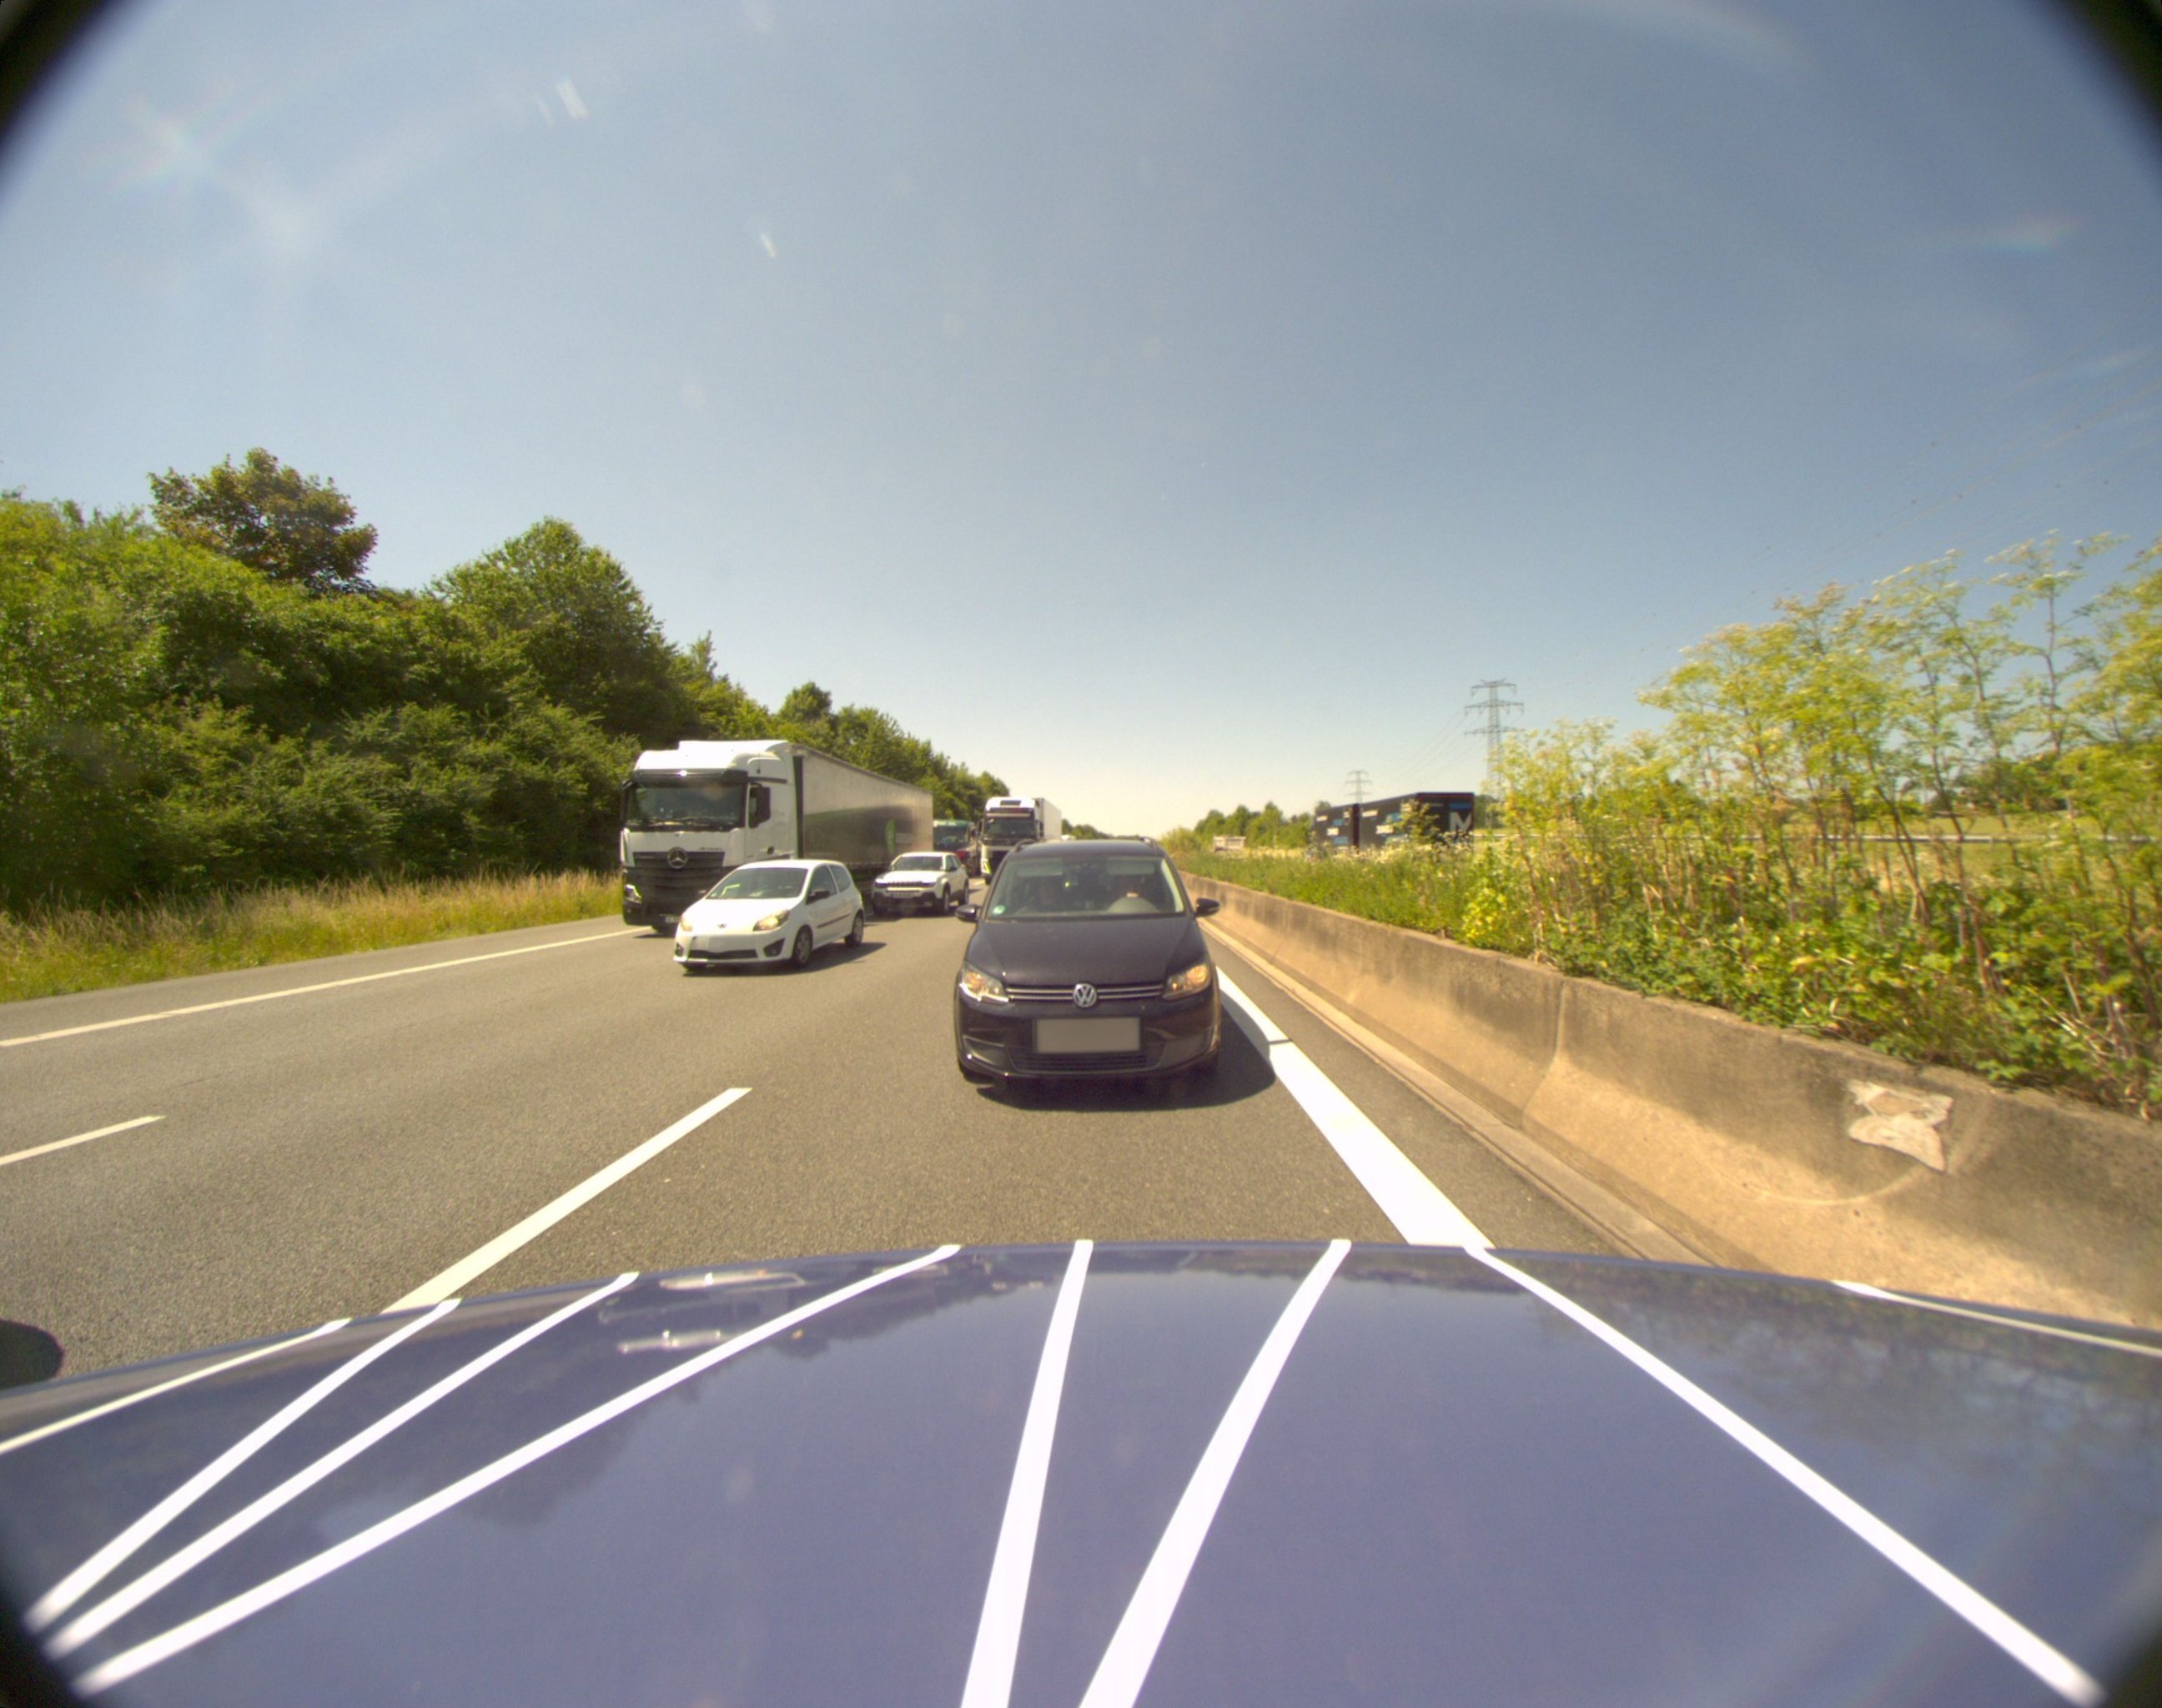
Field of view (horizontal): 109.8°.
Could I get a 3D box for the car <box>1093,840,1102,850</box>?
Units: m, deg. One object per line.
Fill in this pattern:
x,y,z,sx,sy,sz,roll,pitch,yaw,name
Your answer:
3.889,-2.127,176.679,1.998,2.302,4.229,-1,1,2,car

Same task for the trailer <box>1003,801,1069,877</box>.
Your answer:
-2.470,-0.885,44.987,2.776,3.951,9.156,-1,1,3,trailer

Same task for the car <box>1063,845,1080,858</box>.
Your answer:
-1.076,-0.298,84.432,1.650,1.336,3.381,-1,1,3,car

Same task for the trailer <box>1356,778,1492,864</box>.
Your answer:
16.674,-1.500,37.744,3.190,3.740,8.200,-1,1,1,trailer

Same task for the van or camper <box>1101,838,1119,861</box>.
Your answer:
3.334,-0.527,86.177,1.956,2.368,4.037,-2,1,3,van or camper

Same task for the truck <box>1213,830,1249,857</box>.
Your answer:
19.175,-1.366,98.031,2.771,3.269,11.819,-1,1,3,truck

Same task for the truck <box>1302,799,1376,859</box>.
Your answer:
16.898,-1.613,50.214,3.079,3.688,5.462,-1,1,1,truck

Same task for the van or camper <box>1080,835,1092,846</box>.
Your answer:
1.328,-3.454,194.792,2.745,2.680,5.363,-1,1,2,van or camper

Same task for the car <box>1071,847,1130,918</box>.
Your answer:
0.545,0.676,19.835,1.357,1.630,2.994,-2,1,3,car

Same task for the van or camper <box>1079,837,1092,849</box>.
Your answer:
0.828,-1.991,137.986,2.189,2.018,4.364,-1,1,3,van or camper

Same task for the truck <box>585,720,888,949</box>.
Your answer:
-7.414,-0.422,18.203,2.879,4.133,8.475,-1,1,3,truck

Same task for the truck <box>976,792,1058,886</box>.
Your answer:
-2.888,-0.729,36.786,2.750,3.972,8.360,-1,1,3,truck

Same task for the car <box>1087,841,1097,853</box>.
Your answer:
2.243,-1.480,157.236,1.998,2.302,4.229,-1,1,1,car

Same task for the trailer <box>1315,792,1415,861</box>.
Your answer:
16.831,-1.567,45.760,3.132,3.737,7.869,-1,1,1,trailer

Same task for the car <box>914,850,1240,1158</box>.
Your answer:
0.074,0.816,6.794,1.758,1.571,5.291,-1,1,2,car

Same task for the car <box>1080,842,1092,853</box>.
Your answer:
0.795,-1.012,121.654,1.652,1.636,4.000,-1,1,3,car

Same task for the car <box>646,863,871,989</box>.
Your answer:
-4.506,0.912,11.283,1.609,1.426,3.809,0,1,1,car

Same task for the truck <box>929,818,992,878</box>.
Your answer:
-6.697,-0.380,42.925,2.299,3.128,5.675,-1,1,3,truck

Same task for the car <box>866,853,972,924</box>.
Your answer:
-4.005,0.790,19.419,1.748,1.549,3.884,0,2,2,car

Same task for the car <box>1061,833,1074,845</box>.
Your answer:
-2.348,-2.709,135.006,1.998,2.002,4.000,-1,1,2,car

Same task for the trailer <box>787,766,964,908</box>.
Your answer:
-7.005,-0.609,28.526,2.880,4.133,12.074,-1,1,2,trailer
